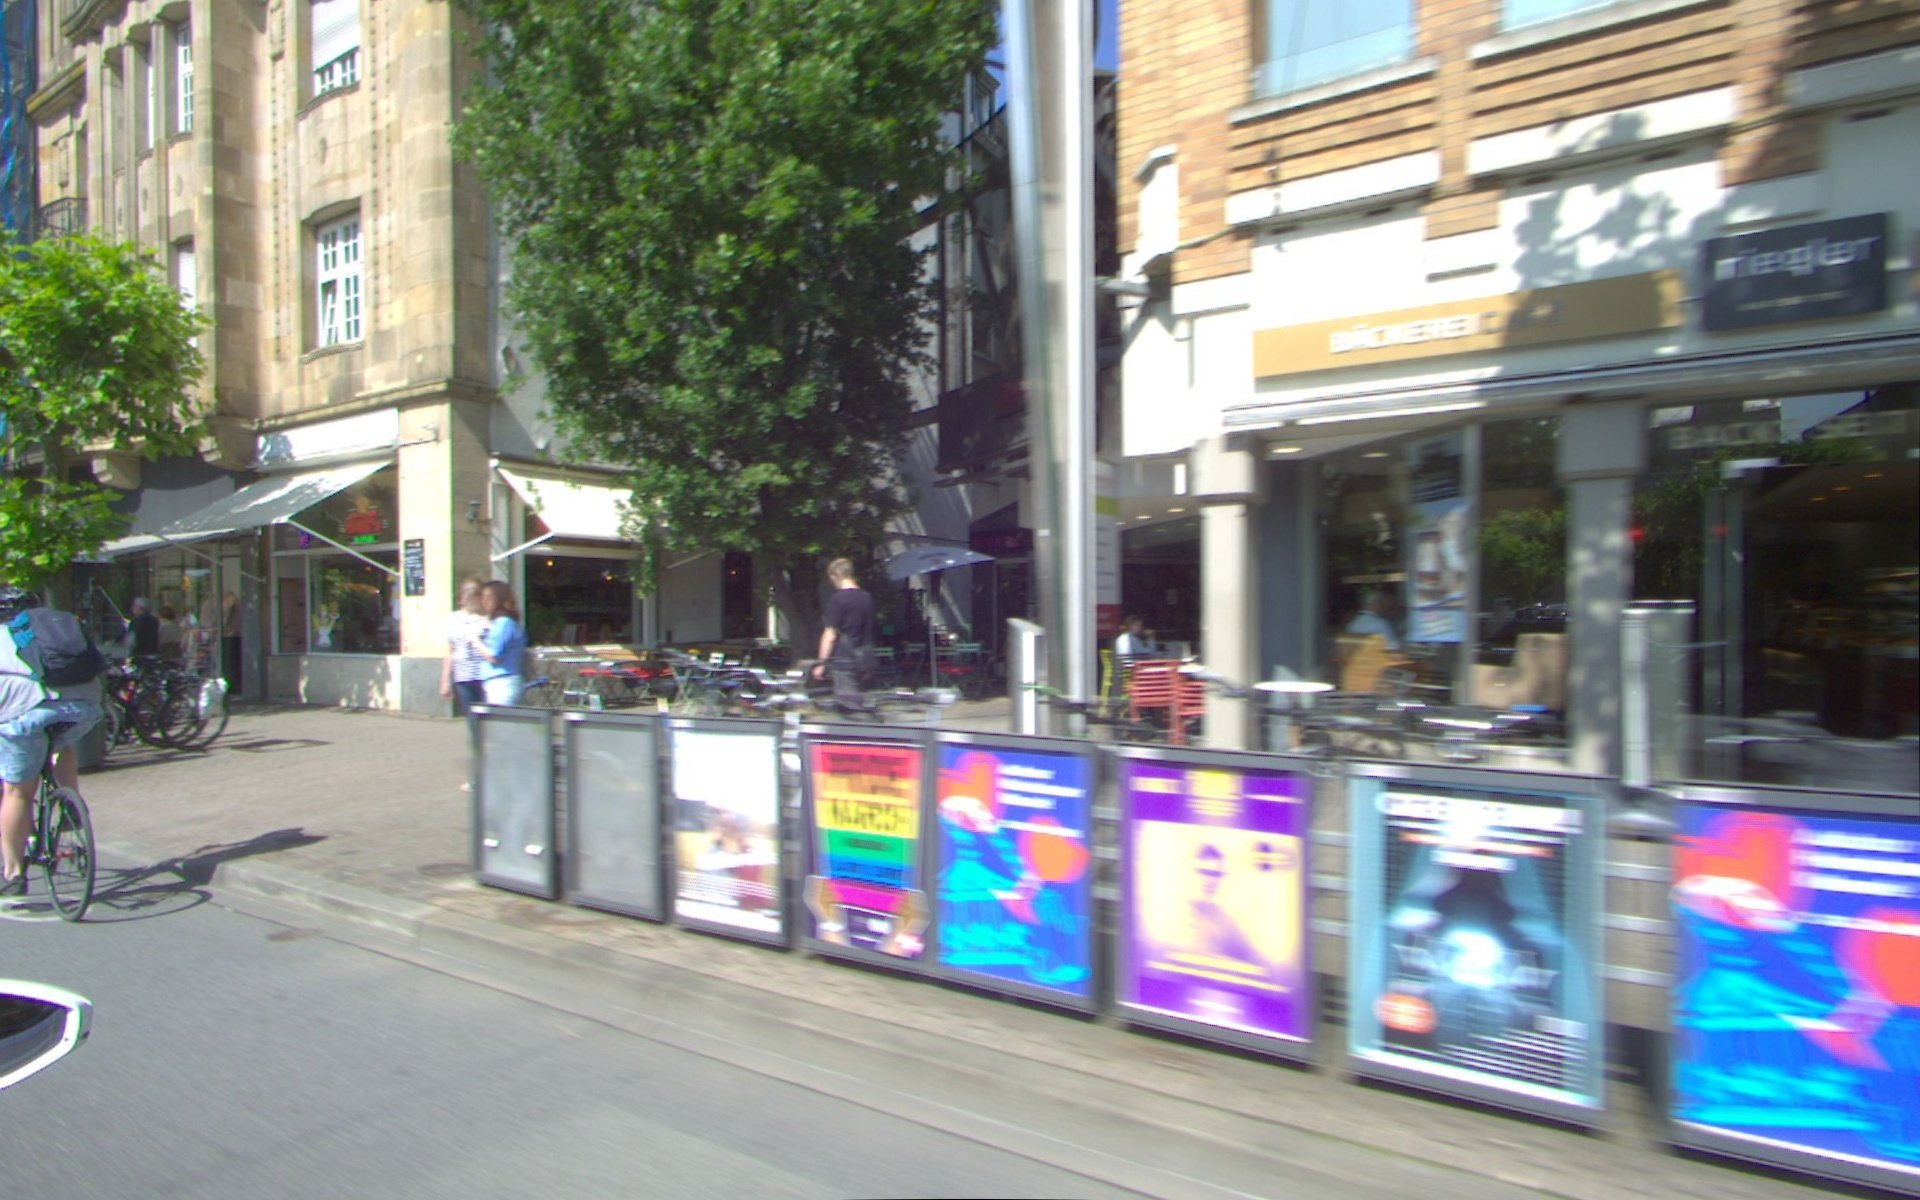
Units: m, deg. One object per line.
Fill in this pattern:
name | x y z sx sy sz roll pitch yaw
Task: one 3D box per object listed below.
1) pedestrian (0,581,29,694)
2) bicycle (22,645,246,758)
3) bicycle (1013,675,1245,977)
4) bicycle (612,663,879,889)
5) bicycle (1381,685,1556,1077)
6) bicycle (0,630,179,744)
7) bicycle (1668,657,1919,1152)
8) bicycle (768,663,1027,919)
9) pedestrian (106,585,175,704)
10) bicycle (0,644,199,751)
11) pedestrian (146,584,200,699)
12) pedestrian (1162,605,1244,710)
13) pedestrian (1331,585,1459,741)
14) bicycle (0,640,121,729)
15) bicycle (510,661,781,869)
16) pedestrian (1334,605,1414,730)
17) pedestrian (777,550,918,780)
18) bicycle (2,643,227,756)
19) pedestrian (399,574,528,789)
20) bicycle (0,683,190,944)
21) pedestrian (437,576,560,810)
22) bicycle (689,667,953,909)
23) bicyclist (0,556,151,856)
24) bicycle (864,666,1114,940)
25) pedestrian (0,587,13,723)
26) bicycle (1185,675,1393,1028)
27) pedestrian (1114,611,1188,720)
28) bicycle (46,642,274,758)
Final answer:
pedestrian | -16.276 0.632 16.791 0.880 1.873 0.811 0 1 39
bicycle | -8.513 1.003 10.411 0.475 1.031 1.751 0 -1 30
bicycle | 0.834 0.883 4.496 0.475 0.998 1.715 0 -1 30
bicycle | -1.157 0.922 5.802 0.475 1.031 1.751 0 -1 30
bicycle | 1.971 0.900 3.817 0.475 1.031 1.751 0 -1 30
bicycle | -10.159 0.960 11.539 0.570 1.196 1.751 0 -1 30
bicycle | 2.729 0.803 3.292 0.475 1.162 1.751 0 -1 30
bicycle | -0.244 0.883 5.221 0.475 1.031 1.751 0 -1 30
pedestrian | -11.957 0.643 14.620 0.490 1.705 0.536 -1 1 11
bicycle | -9.526 1.027 11.028 0.549 1.031 1.751 0 -1 30
pedestrian | -11.886 0.619 15.129 0.375 1.705 0.476 -1 1 12
pedestrian | 3.045 0.722 12.571 0.779 1.271 0.639 1 -2 -15
pedestrian | 3.701 0.533 8.544 0.779 1.271 0.639 1 -2 -15
bicycle | -11.375 1.019 12.189 1.736 1.031 0.653 1 -1 -36
bicycle | -1.860 0.929 6.193 0.475 1.031 1.751 0 -1 30
pedestrian | 4.434 0.708 10.716 0.632 1.271 0.789 0 -2 35
pedestrian | -0.949 0.514 8.413 0.972 1.804 0.665 0 0 36
bicycle | -8.992 1.016 10.733 0.578 1.031 1.750 0 0 30
pedestrian | -3.975 0.627 8.045 0.632 1.648 0.600 -1 2 12
bicycle | -5.137 1.054 5.464 2.099 1.106 0.733 0 -2 31
pedestrian | -3.478 0.653 7.543 0.689 1.648 0.697 -2 1 -37
bicycle | -0.677 0.923 5.492 0.475 1.031 1.751 0 -1 30
bicyclist | -5.105 0.542 5.466 1.126 1.481 0.688 0 -2 30
bicycle | 0.224 0.881 4.946 0.475 1.031 1.751 0 -1 30
pedestrian | -12.433 0.701 12.634 0.651 1.705 0.648 -1 0 -41
bicycle | 1.412 0.874 4.097 0.475 1.031 1.751 0 -1 30
pedestrian | 2.316 0.775 12.100 0.779 1.271 0.639 0 -2 19
bicycle | -8.014 0.963 10.121 0.475 1.031 1.751 0 -1 30
